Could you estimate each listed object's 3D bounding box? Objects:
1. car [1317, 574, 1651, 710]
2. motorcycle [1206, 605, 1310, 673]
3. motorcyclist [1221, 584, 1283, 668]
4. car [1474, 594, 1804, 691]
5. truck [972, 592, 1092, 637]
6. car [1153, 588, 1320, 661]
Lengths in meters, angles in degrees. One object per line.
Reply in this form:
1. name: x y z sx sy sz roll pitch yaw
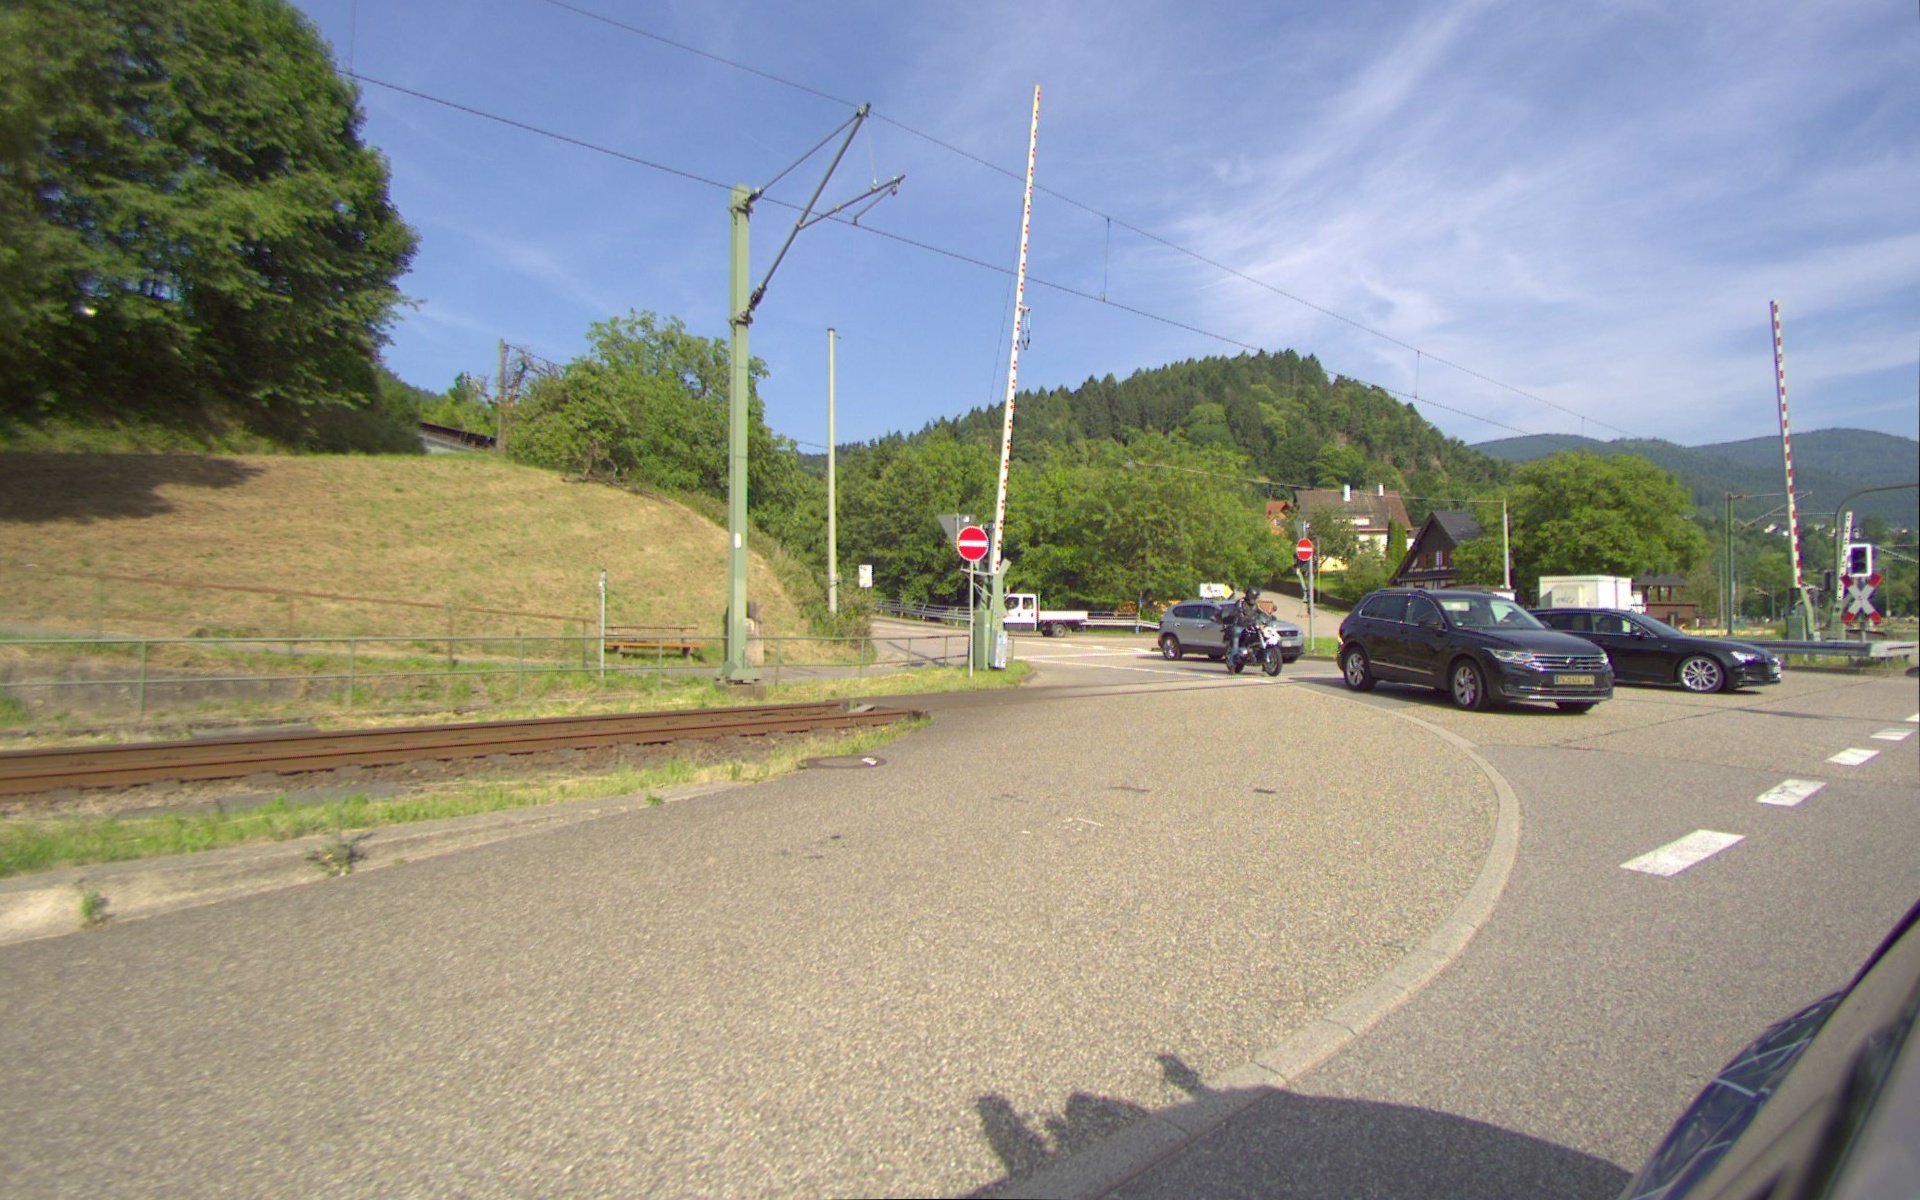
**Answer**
1. car: 7.404 0.515 14.992 1.890 1.681 4.749 0 0 -10
2. motorcycle: 5.823 0.752 19.913 0.782 1.270 2.103 0 -2 -23
3. motorcyclist: 5.770 0.518 20.046 0.749 1.617 0.911 1 -2 -24
4. car: 12.286 0.673 18.632 1.808 1.488 4.738 1 0 -38
5. truck: 3.761 0.716 53.071 5.813 2.260 2.413 0 1 -14
6. car: 6.993 0.638 26.021 1.797 1.708 4.130 1 -2 -28
